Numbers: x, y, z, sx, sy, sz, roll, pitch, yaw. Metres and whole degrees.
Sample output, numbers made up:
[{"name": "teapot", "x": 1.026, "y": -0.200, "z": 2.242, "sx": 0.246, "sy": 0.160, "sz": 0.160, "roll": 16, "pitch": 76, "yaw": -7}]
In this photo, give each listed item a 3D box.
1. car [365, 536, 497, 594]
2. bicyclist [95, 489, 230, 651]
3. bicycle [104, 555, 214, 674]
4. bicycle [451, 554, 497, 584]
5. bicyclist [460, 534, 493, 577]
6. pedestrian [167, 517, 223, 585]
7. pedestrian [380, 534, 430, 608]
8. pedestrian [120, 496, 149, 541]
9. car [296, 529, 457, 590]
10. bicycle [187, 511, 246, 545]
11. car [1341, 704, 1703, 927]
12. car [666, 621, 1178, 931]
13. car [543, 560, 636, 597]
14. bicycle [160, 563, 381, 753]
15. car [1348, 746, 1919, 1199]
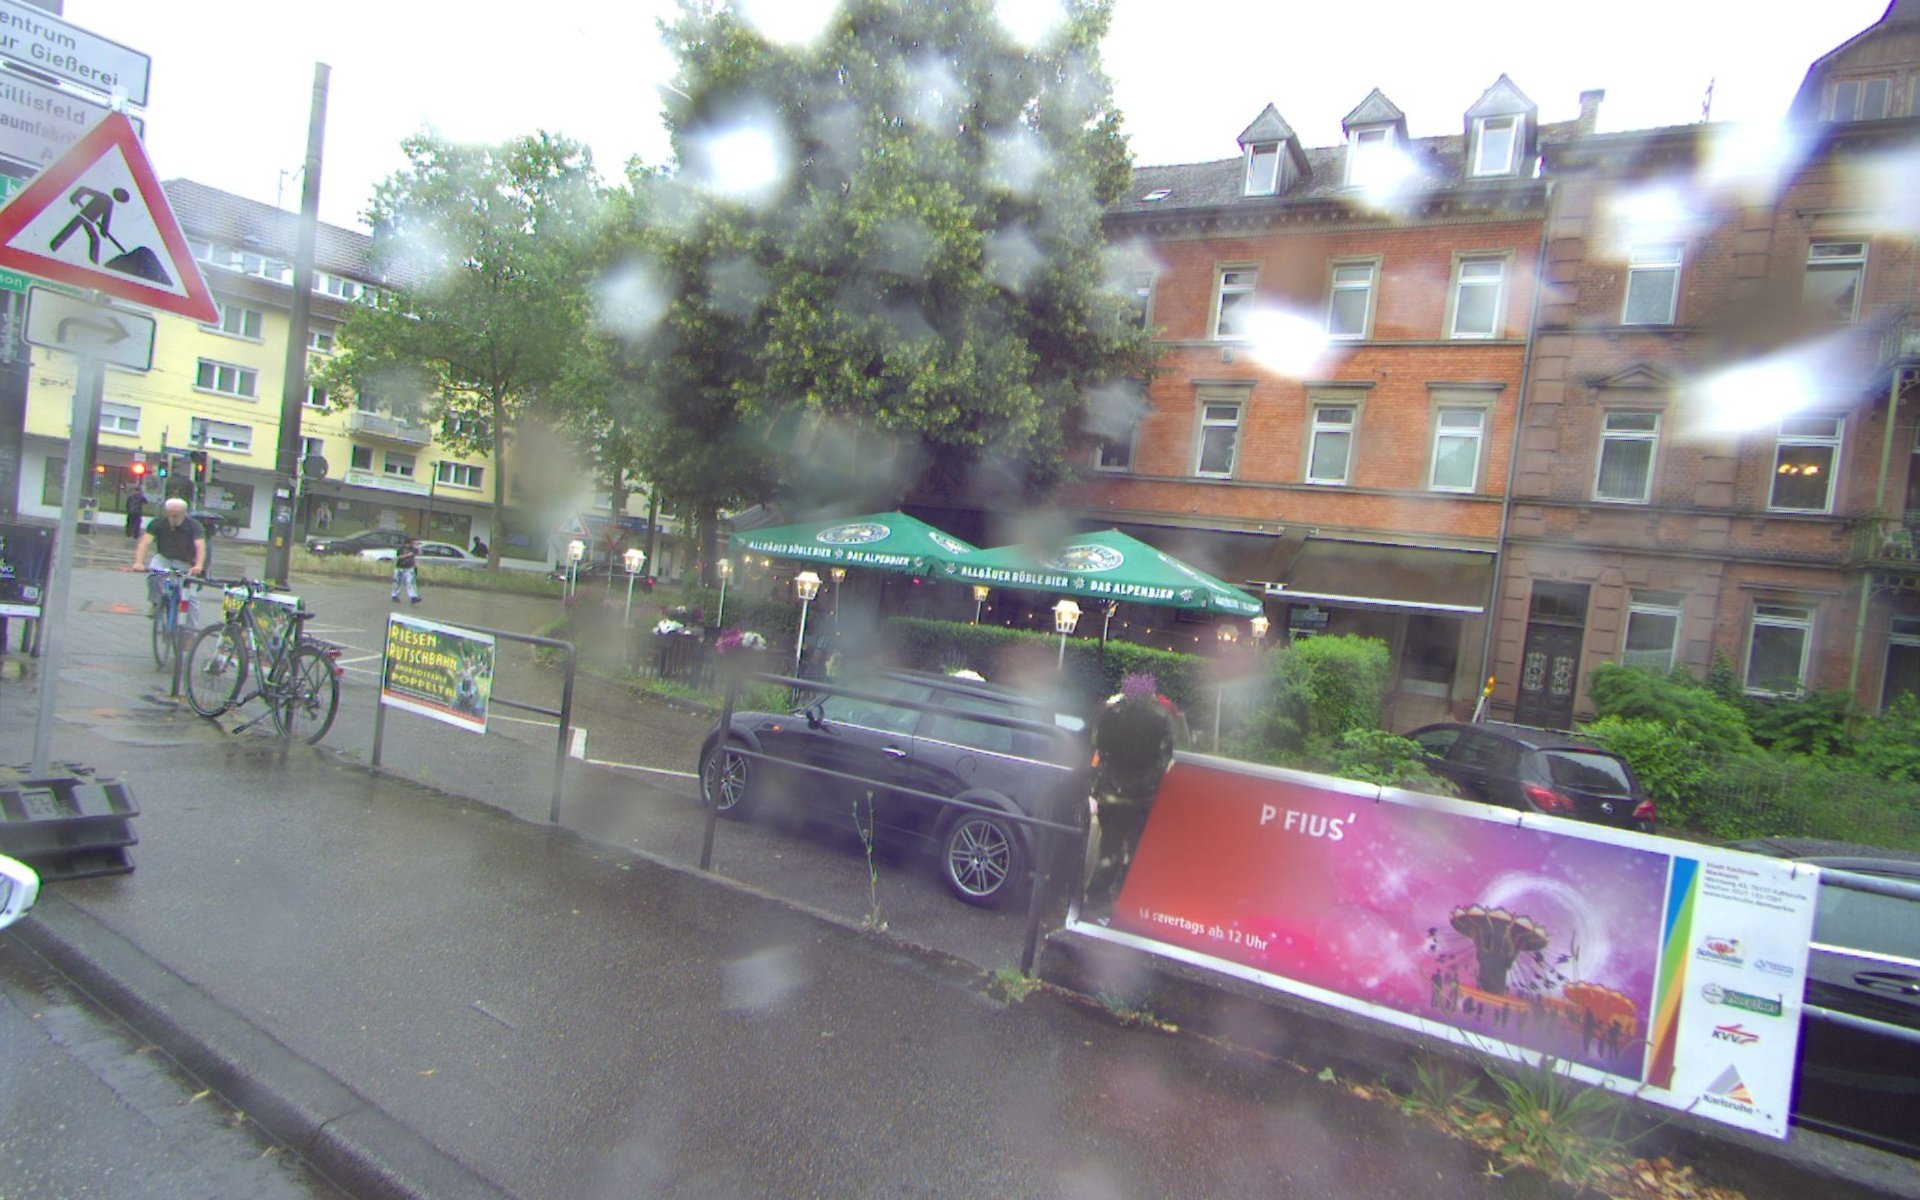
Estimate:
[{"name": "car", "x": -19.582, "y": -1.280, "z": 37.329, "sx": 3.926, "sy": 1.508, "sz": 1.784, "roll": 8, "pitch": 0, "yaw": -43}, {"name": "bicyclist", "x": -8.636, "y": -0.321, "z": 10.896, "sx": 0.848, "sy": 1.602, "sz": 0.877, "roll": 7, "pitch": -1, "yaw": 42}, {"name": "bicycle", "x": -8.688, "y": 0.134, "z": 10.887, "sx": 1.873, "sy": 1.040, "sz": 0.458, "roll": 8, "pitch": 1, "yaw": 39}, {"name": "bicycle", "x": -20.108, "y": -1.278, "z": 41.654, "sx": 0.415, "sy": 1.013, "sz": 1.640, "roll": 7, "pitch": -1, "yaw": 32}, {"name": "bicyclist", "x": -20.023, "y": -1.855, "z": 41.678, "sx": 0.699, "sy": 1.634, "sz": 0.815, "roll": 7, "pitch": 0, "yaw": 33}, {"name": "pedestrian", "x": -18.818, "y": -1.187, "z": 24.755, "sx": 0.612, "sy": 1.552, "sz": 0.816, "roll": 7, "pitch": 0, "yaw": -6}, {"name": "pedestrian", "x": -13.858, "y": -0.728, "z": 25.106, "sx": 0.898, "sy": 1.689, "sz": 1.012, "roll": 7, "pitch": -1, "yaw": -31}, {"name": "pedestrian", "x": -29.490, "y": -2.897, "z": 35.937, "sx": 0.617, "sy": 1.518, "sz": 0.547, "roll": 7, "pitch": 0, "yaw": -37}, {"name": "car", "x": -22.446, "y": -1.527, "z": 38.827, "sx": 1.975, "sy": 1.661, "sz": 4.928, "roll": 3, "pitch": -4, "yaw": 43}, {"name": "bicycle", "x": -35.604, "y": -3.443, "z": 48.200, "sx": 2.096, "sy": 1.277, "sz": 0.525, "roll": 8, "pitch": 0, "yaw": -44}, {"name": "car", "x": 6.503, "y": 2.407, "z": 12.276, "sx": 1.963, "sy": 1.733, "sz": 4.001, "roll": 7, "pitch": -1, "yaw": 0}, {"name": "car", "x": -0.353, "y": 1.211, "z": 7.805, "sx": 3.468, "sy": 1.457, "sz": 1.710, "roll": 8, "pitch": -3, "yaw": 34}, {"name": "car", "x": -15.516, "y": -0.885, "z": 42.278, "sx": 1.227, "sy": 1.095, "sz": 3.531, "roll": 7, "pitch": -2, "yaw": 34}, {"name": "bicycle", "x": -5.179, "y": 0.400, "z": 7.502, "sx": 1.984, "sy": 1.119, "sz": 0.515, "roll": 7, "pitch": -3, "yaw": 33}, {"name": "car", "x": 4.199, "y": 1.788, "z": 4.964, "sx": 3.907, "sy": 1.416, "sz": 1.706, "roll": 7, "pitch": -1, "yaw": 32}]
